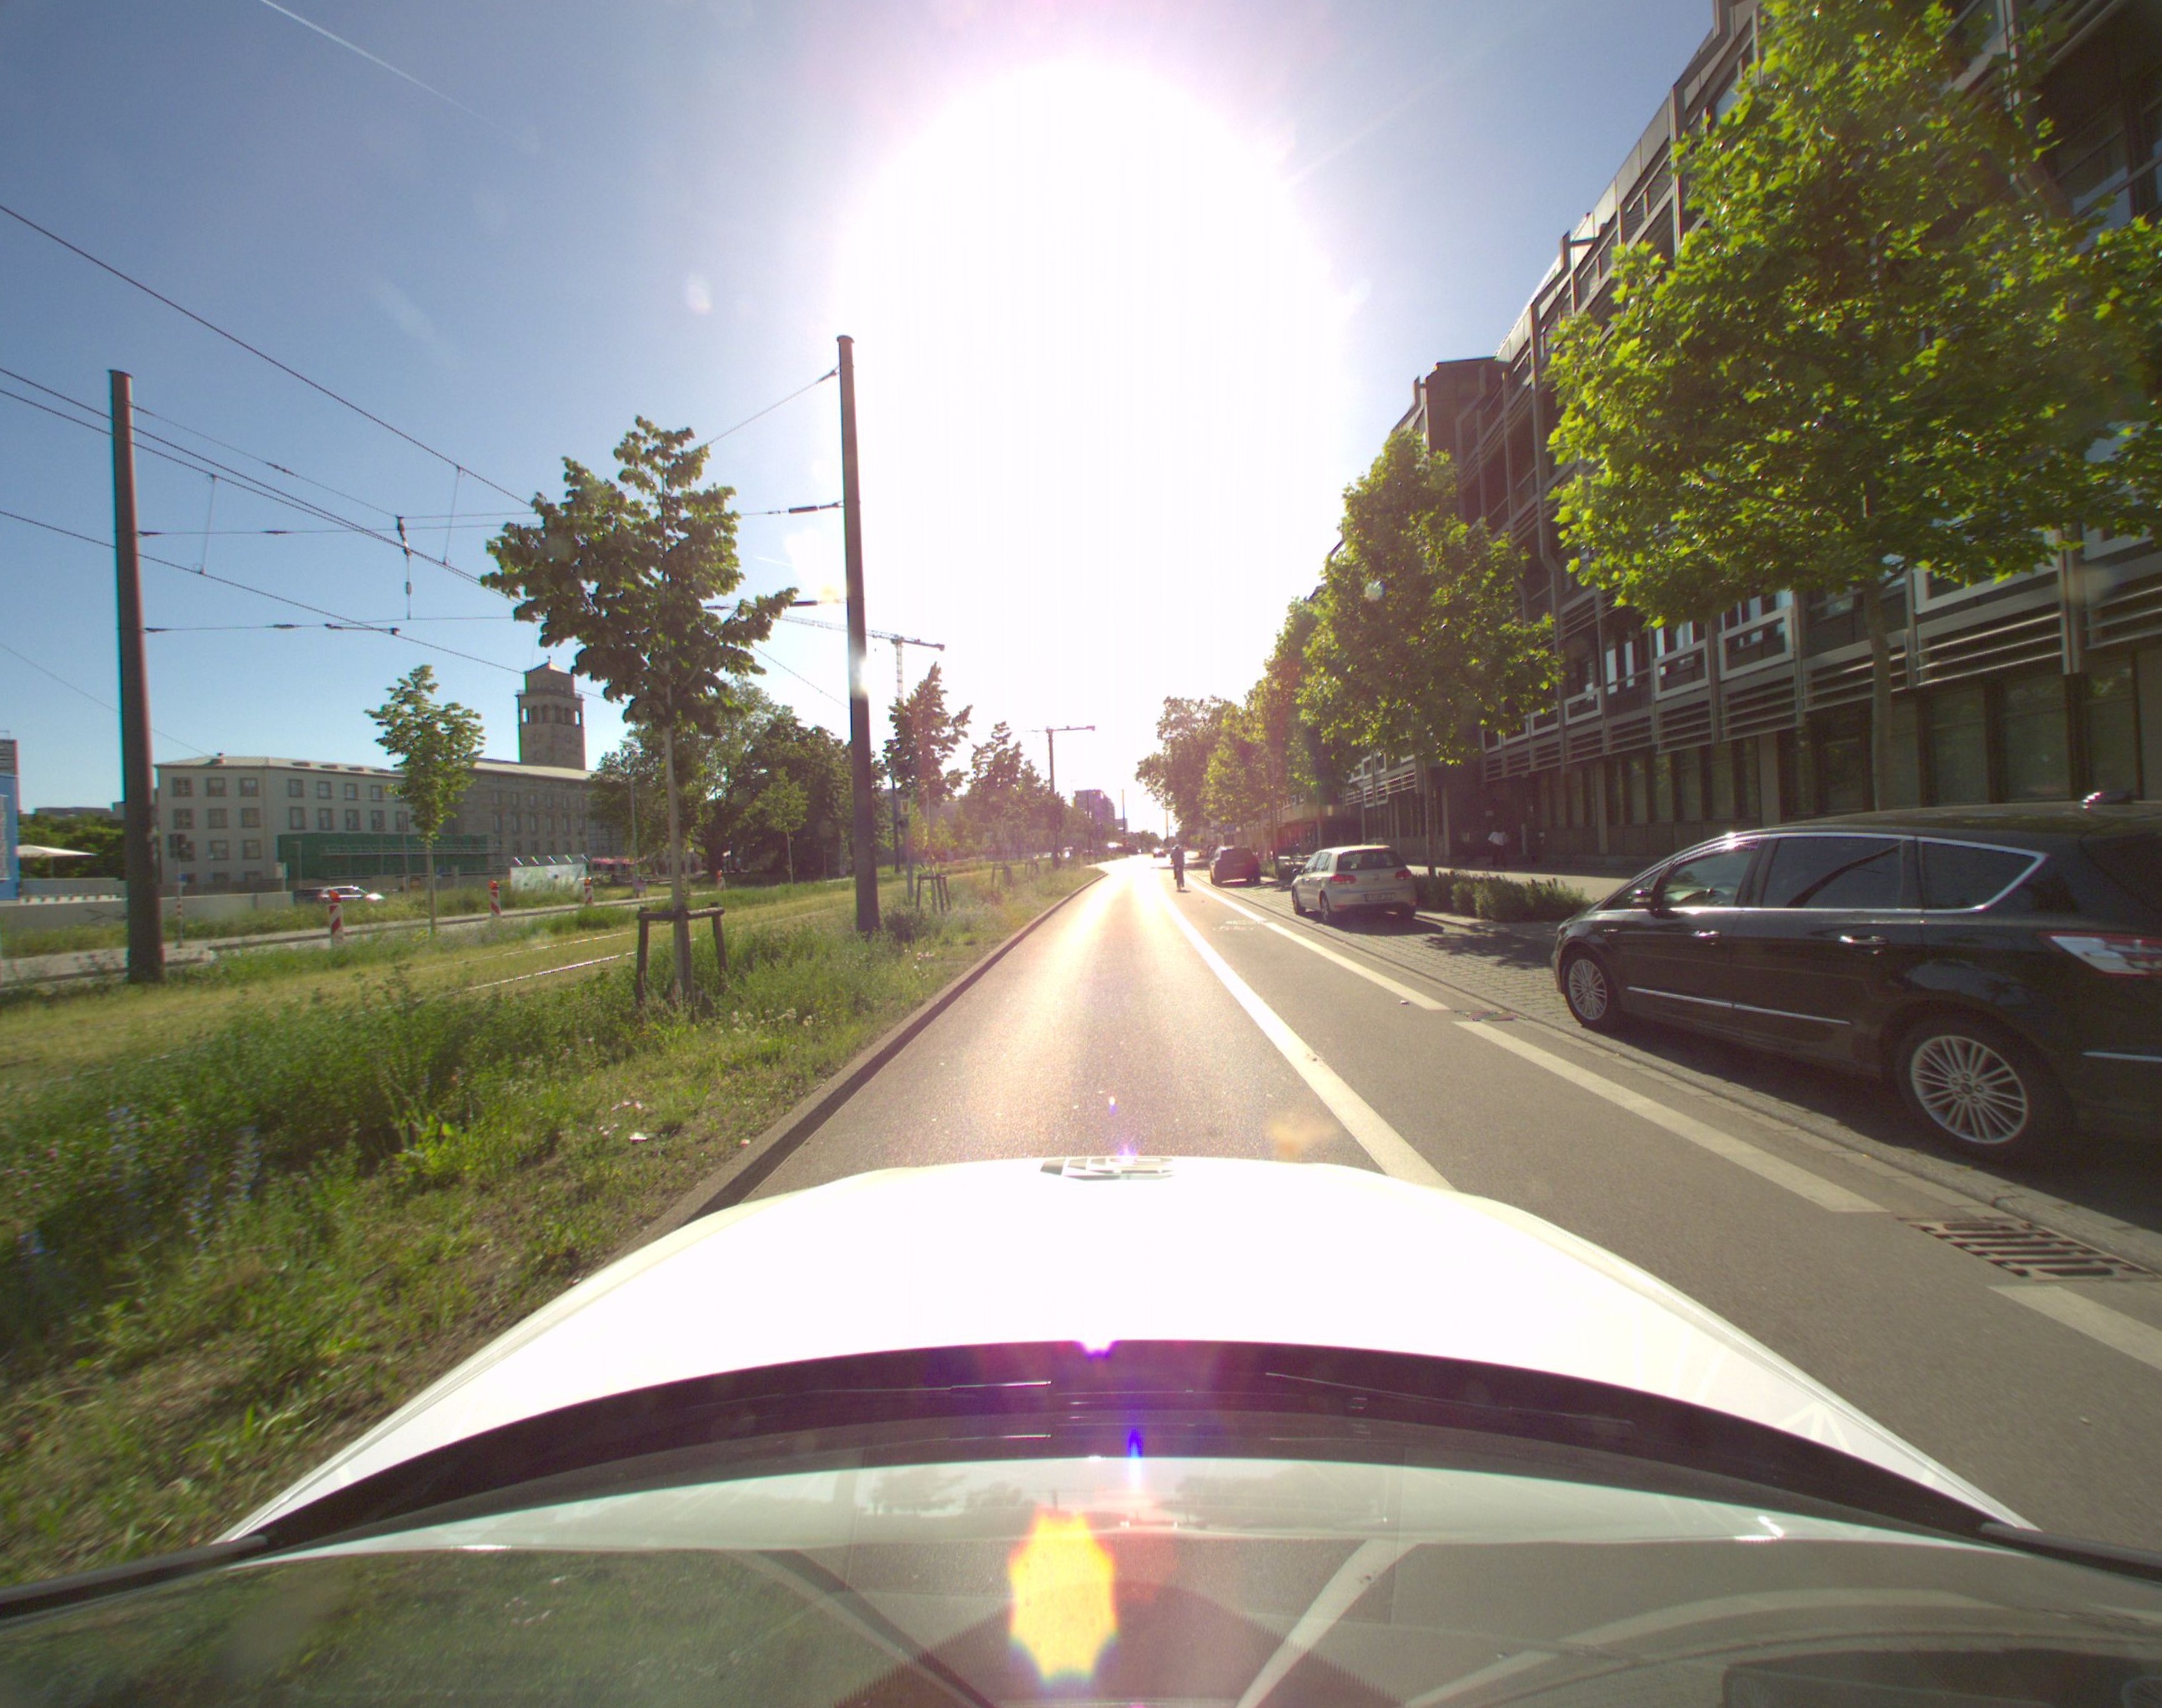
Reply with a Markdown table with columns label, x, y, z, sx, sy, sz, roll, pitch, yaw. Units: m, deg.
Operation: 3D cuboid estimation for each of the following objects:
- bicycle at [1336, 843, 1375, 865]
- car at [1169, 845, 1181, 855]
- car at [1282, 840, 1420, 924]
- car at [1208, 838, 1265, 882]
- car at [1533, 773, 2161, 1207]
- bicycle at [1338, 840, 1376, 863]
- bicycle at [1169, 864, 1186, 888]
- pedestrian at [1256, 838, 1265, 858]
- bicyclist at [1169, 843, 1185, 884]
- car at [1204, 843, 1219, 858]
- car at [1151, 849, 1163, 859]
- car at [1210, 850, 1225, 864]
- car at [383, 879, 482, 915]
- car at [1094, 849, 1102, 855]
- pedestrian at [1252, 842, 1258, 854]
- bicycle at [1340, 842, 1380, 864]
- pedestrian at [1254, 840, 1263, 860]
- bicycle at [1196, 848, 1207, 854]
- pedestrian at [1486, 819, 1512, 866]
| label | x | y | z | sx | sy | sz | roll | pitch | yaw |
| --- | --- | --- | --- | --- | --- | --- | --- | --- | --- |
| bicycle | 14.331 | -0.004 | 42.526 | 1.847 | 1.011 | 0.427 | -5 | 0 | 8 |
| car | 15.286 | -0.685 | 131.745 | 1.711 | 1.618 | 4.197 | -2 | 0 | 9 |
| car | 5.559 | 0.511 | 17.274 | 1.612 | 1.465 | 4.158 | -4 | 0 | 2 |
| car | 6.723 | 0.214 | 35.726 | 1.841 | 1.656 | 4.854 | -4 | 0 | 4 |
| car | 5.002 | 0.474 | 5.214 | 1.741 | 1.659 | 4.470 | -3 | 0 | 1 |
| bicycle | 14.812 | -0.129 | 43.751 | 1.847 | 1.097 | 0.427 | -5 | 0 | 8 |
| bicycle | 3.860 | 0.866 | 32.610 | 0.495 | 0.906 | 2.198 | -1 | 0 | 3 |
| pedestrian | 13.961 | -0.473 | 63.411 | 0.508 | 1.474 | 0.737 | -4 | 0 | 6 |
| bicyclist | 3.835 | 0.383 | 32.551 | 0.510 | 1.601 | 0.537 | -3 | 0 | 2 |
| car | 17.600 | -0.472 | 109.954 | 1.695 | 1.789 | 4.201 | -4 | 0 | 7 |
| car | 12.698 | -0.017 | 135.786 | 1.902 | 1.486 | 4.017 | -2 | 0 | 6 |
| car | 16.620 | 0.341 | 99.193 | 1.694 | 1.643 | 4.648 | -2 | 0 | 9 |
| car | -31.384 | 2.048 | 39.533 | 1.551 | 1.536 | 3.862 | 0 | 0 | 3 |
| car | 3.560 | -0.485 | 168.312 | 1.369 | 1.178 | 3.226 | 0 | 0 | 7 |
| pedestrian | 22.683 | -0.816 | 106.193 | 0.504 | 1.584 | 0.635 | -2 | 0 | -1 |
| bicycle | 14.085 | -0.046 | 41.132 | 1.847 | 0.939 | 0.427 | -5 | 0 | 8 |
| pedestrian | 15.132 | -0.344 | 69.455 | 0.644 | 1.728 | 0.805 | -2 | 0 | 6 |
| bicycle | 19.329 | -0.458 | 130.828 | 1.686 | 0.957 | 0.479 | -4 | 0 | 2 |
| pedestrian | 14.787 | -0.398 | 28.810 | 0.508 | 1.622 | 0.675 | -5 | 0 | 6 |
